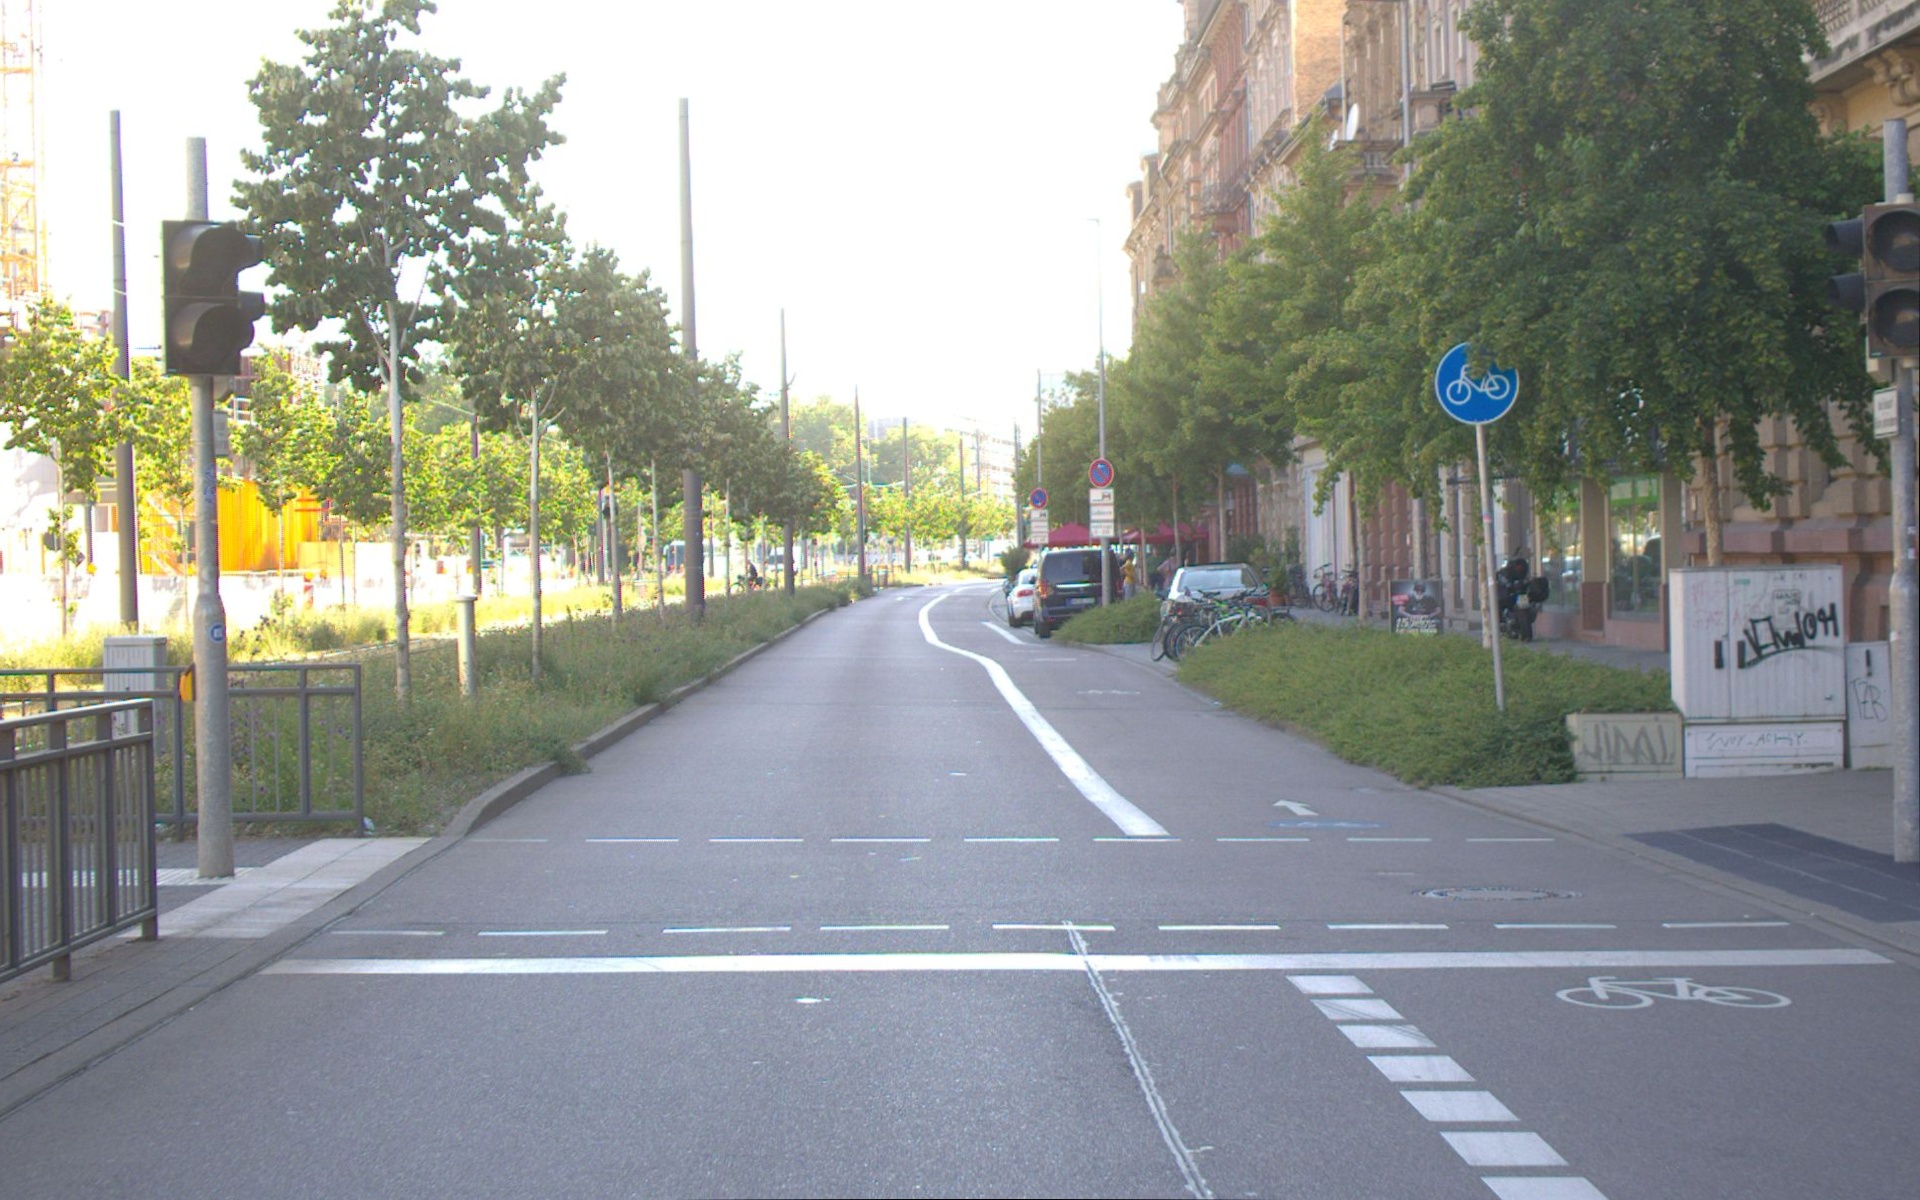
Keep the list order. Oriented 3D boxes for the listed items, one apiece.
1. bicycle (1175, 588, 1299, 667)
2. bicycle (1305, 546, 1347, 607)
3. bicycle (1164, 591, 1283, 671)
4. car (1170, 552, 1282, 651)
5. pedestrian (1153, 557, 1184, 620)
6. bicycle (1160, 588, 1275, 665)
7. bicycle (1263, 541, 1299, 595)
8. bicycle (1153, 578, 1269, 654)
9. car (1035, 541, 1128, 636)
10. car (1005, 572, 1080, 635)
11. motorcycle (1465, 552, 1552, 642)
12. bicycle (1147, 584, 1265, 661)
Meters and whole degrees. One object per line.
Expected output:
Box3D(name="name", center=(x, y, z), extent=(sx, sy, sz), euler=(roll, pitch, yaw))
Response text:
Box3D(name="bicycle", center=(4.062, 0.399, 50.453), extent=(1.691, 1.044, 0.489), euler=(-3, 1, -8))
Box3D(name="bicycle", center=(8.739, -0.569, 82.096), extent=(0.661, 1.397, 2.352), euler=(-1, 2, -1))
Box3D(name="bicycle", center=(3.764, 0.442, 49.161), extent=(1.576, 1.044, 0.489), euler=(-3, 1, -8))
Box3D(name="car", center=(4.535, -0.005, 59.104), extent=(1.637, 1.481, 4.212), euler=(-3, 2, 2))
Box3D(name="pedestrian", center=(4.812, -0.266, 79.433), extent=(0.625, 1.455, 0.638), euler=(-1, 1, -1))
Box3D(name="bicycle", center=(3.819, 0.390, 50.989), extent=(1.576, 1.044, 0.489), euler=(-3, 1, -8))
Box3D(name="bicycle", center=(8.725, -0.882, 93.472), extent=(0.661, 1.397, 2.352), euler=(-1, 2, -1))
Box3D(name="bicycle", center=(3.912, 0.248, 53.590), extent=(1.691, 1.044, 0.489), euler=(-5, 1, 0))
Box3D(name="car", center=(2.644, -0.281, 75.568), extent=(1.885, 1.930, 4.473), euler=(-1, 2, 1))
Box3D(name="car", center=(2.105, 0.071, 88.986), extent=(1.849, 1.452, 4.156), euler=(-1, 2, 1))
Box3D(name="motorcycle", center=(8.587, -0.062, 53.942), extent=(0.795, 1.304, 2.852), euler=(-3, 2, -1))
Box3D(name="bicycle", center=(3.720, 0.342, 52.116), extent=(1.691, 1.044, 0.489), euler=(-4, 1, 0))
